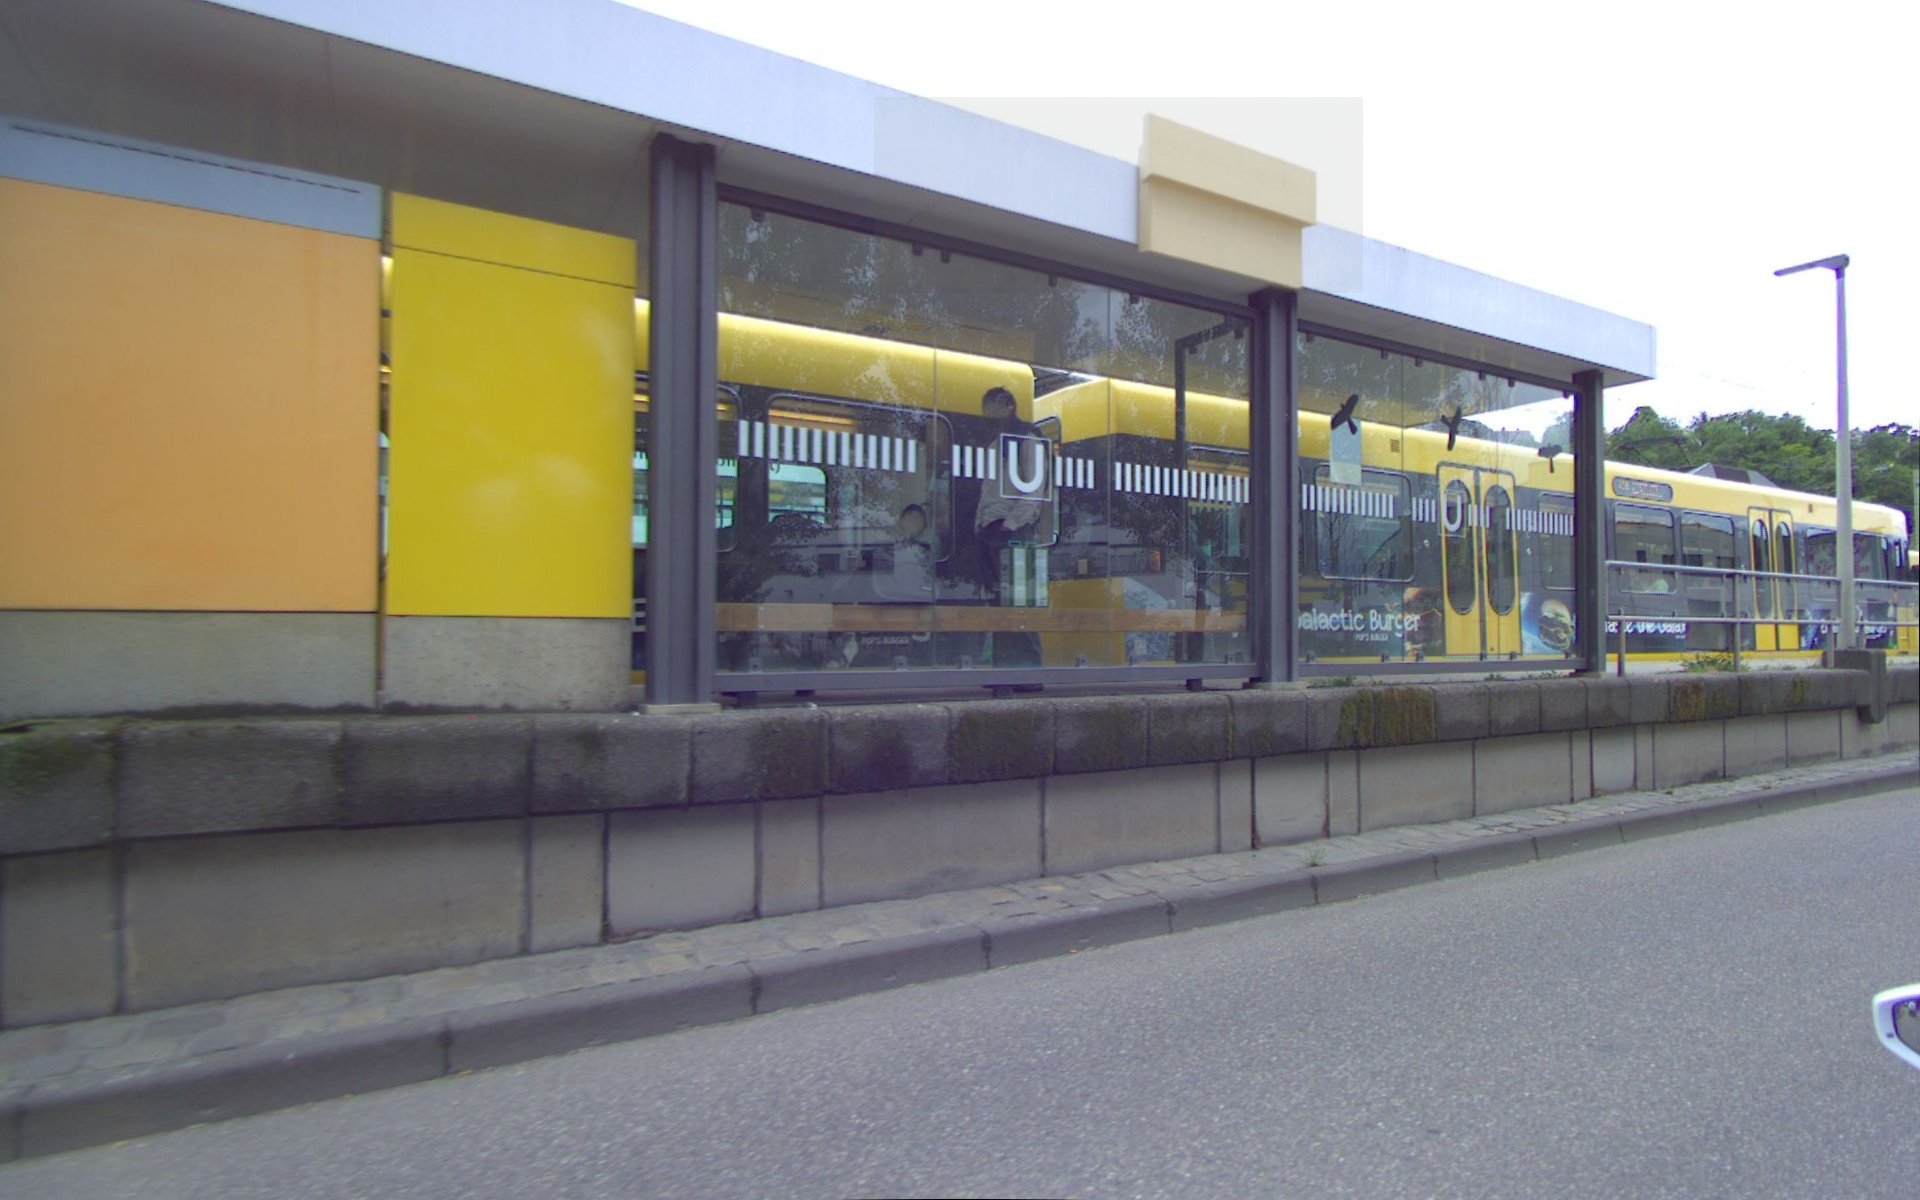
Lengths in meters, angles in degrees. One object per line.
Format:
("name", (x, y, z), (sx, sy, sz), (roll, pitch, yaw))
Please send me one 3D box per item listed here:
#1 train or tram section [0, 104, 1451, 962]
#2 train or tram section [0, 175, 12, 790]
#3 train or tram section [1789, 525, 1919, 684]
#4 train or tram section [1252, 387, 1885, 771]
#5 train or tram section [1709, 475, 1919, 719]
("train or tram section", (-0.625, -0.295, 8.631), (11.774, 4.019, 2.727), (0, -1, -31))
("train or tram section", (-10.737, -0.797, 2.533), (11.774, 4.019, 2.727), (0, -1, -31))
("train or tram section", (25.897, 0.212, 27.470), (9.071, 3.845, 1.984), (1, -2, -31))
("train or tram section", (9.493, -0.194, 14.714), (11.774, 4.019, 2.727), (0, -1, -31))
("train or tram section", (19.624, -0.018, 20.814), (10.078, 4.119, 2.957), (0, -1, -31))
